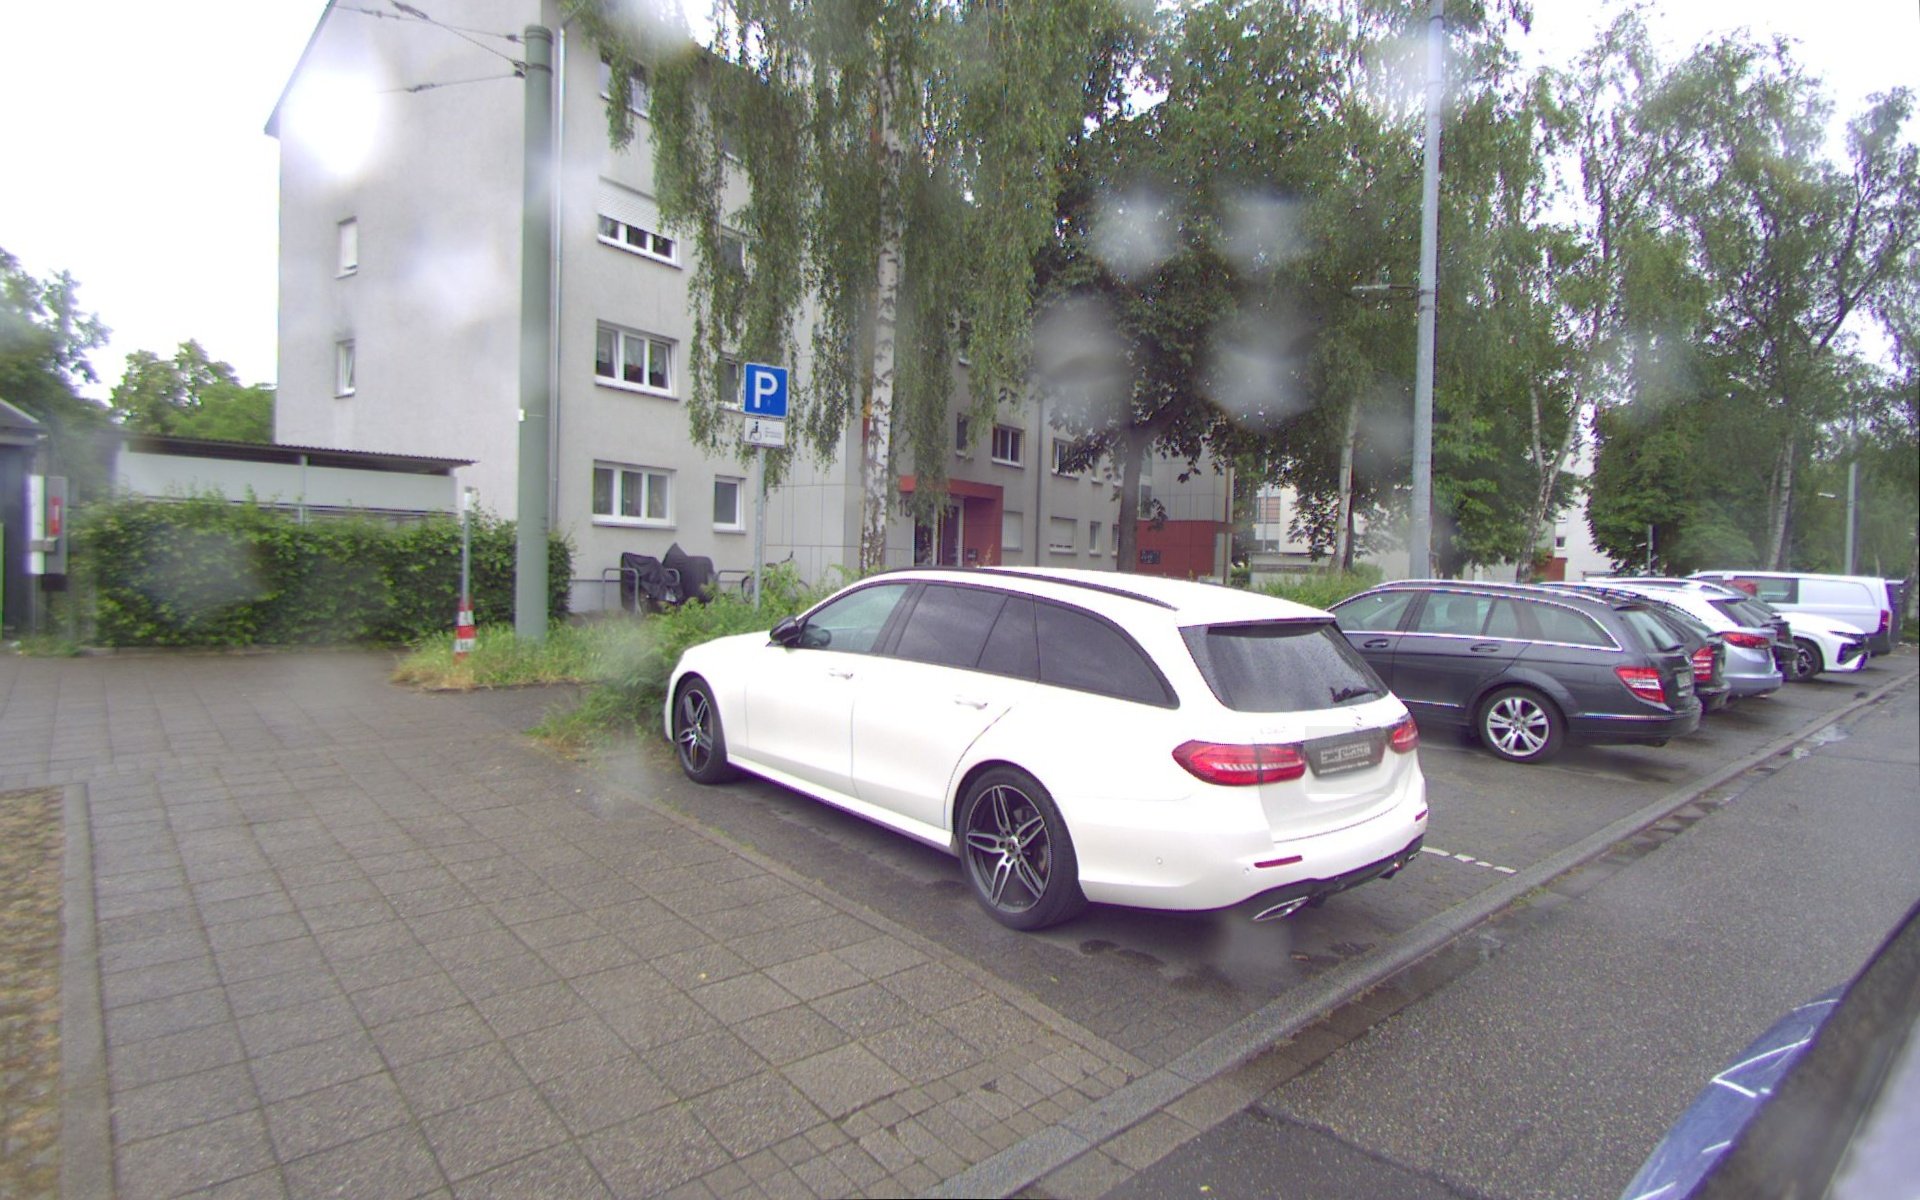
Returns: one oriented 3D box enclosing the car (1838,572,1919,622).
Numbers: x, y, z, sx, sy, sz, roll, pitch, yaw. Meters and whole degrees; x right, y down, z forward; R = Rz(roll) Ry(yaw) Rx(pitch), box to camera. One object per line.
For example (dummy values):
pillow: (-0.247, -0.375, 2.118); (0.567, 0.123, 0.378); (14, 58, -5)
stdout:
car: (37.741, -0.136, 40.242); (1.866, 1.937, 3.998); (-1, 0, -36)

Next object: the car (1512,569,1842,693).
car: (11.402, 0.384, 16.305); (1.653, 1.514, 4.044); (-1, 5, -43)

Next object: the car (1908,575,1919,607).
car: (53.241, -0.486, 53.734); (1.866, 1.701, 3.998); (-1, 1, -36)

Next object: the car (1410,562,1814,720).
car: (8.215, 0.381, 13.037); (1.653, 1.514, 4.044); (-1, 5, -43)

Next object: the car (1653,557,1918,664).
car: (17.531, 0.129, 21.660); (4.172, 1.888, 1.654); (6, 5, 44)

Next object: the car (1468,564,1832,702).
car: (9.837, 0.353, 14.669); (1.653, 1.514, 4.044); (-1, 5, -43)

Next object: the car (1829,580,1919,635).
car: (34.430, 0.245, 36.799); (1.866, 1.937, 3.998); (-1, 0, -36)

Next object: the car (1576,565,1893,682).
car: (13.712, 0.311, 18.153); (1.651, 1.637, 4.181); (0, 5, -40)

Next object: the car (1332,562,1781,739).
car: (6.578, 0.409, 11.502); (1.653, 1.456, 4.044); (-1, 5, -43)

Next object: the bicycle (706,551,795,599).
bicycle: (-4.526, -0.536, 21.967); (0.701, 1.005, 1.918); (0, 0, 37)

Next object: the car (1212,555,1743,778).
car: (4.594, 0.415, 9.458); (1.653, 1.456, 4.044); (-1, 5, -43)

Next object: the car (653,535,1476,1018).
car: (0.080, 0.467, 5.609); (1.651, 1.456, 4.622); (-1, 5, -41)
